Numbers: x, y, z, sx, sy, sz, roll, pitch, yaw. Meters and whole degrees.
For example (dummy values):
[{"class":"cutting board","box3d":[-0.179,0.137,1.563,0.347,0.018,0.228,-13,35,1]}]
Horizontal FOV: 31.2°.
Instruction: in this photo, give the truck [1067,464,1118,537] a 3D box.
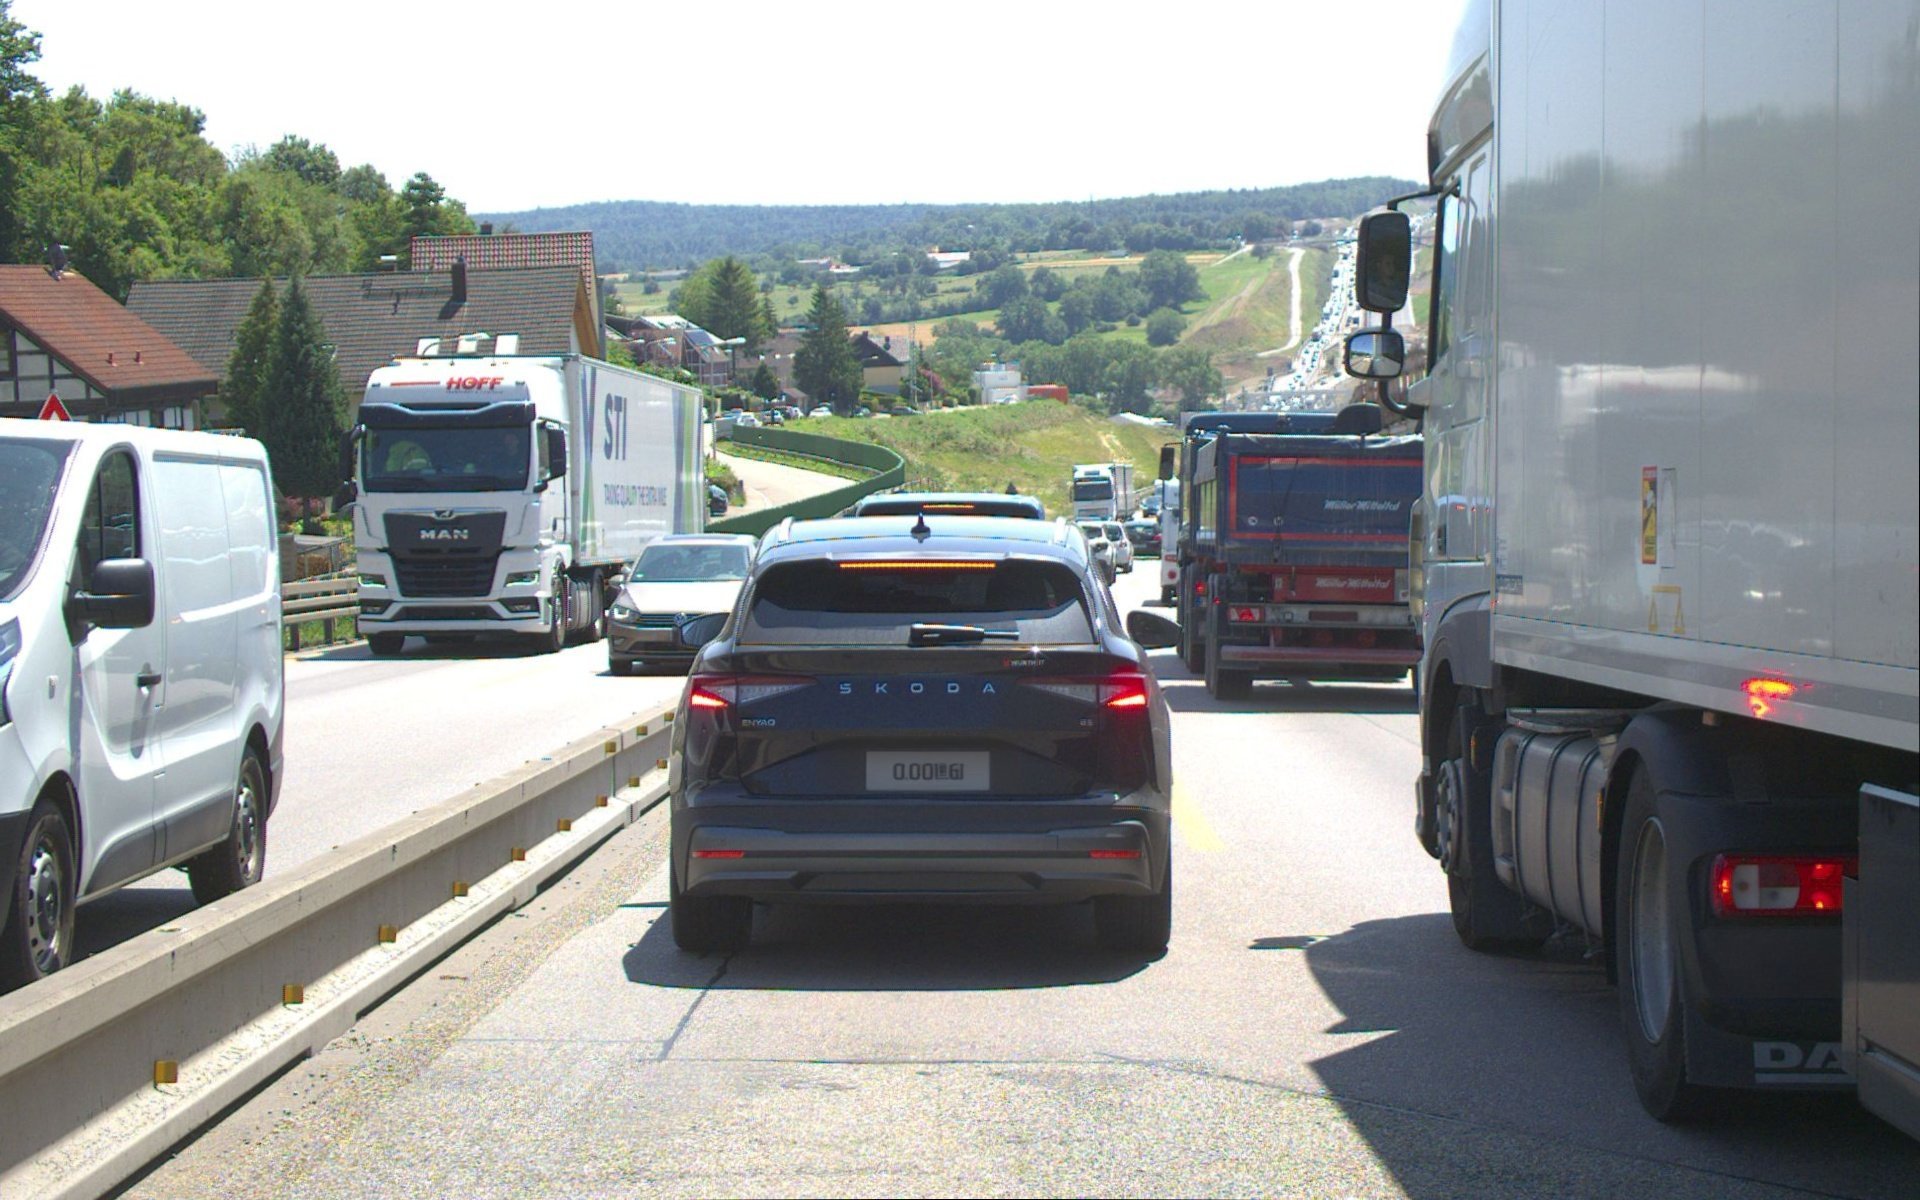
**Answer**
[{"class":"truck","box3d":[7.975,-5.995,207.070,2.752,4.268,4.956,1,2,5]}]

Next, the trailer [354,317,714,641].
[{"class":"trailer","box3d":[-6.305,-1.718,53.854,3.252,4.363,14.057,1,1,2]}]

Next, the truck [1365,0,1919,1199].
[{"class":"truck","box3d":[2.925,-0.704,9.931,2.513,4.011,8.238,1,1,0]}]

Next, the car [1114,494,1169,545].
[{"class":"car","box3d":[6.388,-2.812,120.853,1.701,1.722,3.835,1,1,6]}]

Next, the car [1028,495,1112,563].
[{"class":"car","box3d":[2.711,-1.726,84.194,1.994,1.579,3.836,1,1,2]}]

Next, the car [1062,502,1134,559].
[{"class":"car","box3d":[3.981,-1.986,98.874,1.994,1.579,3.836,1,1,2]}]

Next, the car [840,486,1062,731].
[{"class":"car","box3d":[-0.144,0.004,28.966,1.706,1.875,4.001,1,2,-2]}]

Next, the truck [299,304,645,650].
[{"class":"truck","box3d":[-6.585,-1.604,47.842,3.303,4.347,8.301,1,1,2]}]

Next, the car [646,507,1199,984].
[{"class":"car","box3d":[-0.195,0.473,13.563,1.842,1.581,3.908,1,1,-2]}]

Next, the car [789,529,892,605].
[{"class":"car","box3d":[-2.345,-0.656,68.282,1.790,1.448,4.635,-1,1,1]}]

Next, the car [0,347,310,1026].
[{"class":"car","box3d":[-3.818,0.243,12.561,1.993,2.004,4.858,-1,1,-1]}]

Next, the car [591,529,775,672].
[{"class":"car","box3d":[-3.150,-0.016,39.804,1.845,1.568,4.000,0,1,-1]}]

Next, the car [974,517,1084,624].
[{"class":"car","box3d":[1.147,-0.513,56.321,1.707,1.616,4.000,1,2,1]}]

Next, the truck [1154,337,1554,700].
[{"class":"truck","box3d":[3.842,-0.783,36.794,3.195,3.180,12.808,1,1,2]}]

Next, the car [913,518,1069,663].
[{"class":"car","box3d":[0.334,-0.159,42.278,1.706,1.616,4.001,1,2,-2]}]

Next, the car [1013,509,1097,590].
[{"class":"car","box3d":[2.015,-1.093,73.044,1.707,1.616,4.000,1,2,1]}]

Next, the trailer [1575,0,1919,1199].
[{"class":"trailer","box3d":[2.948,-0.821,3.202,2.532,4.113,11.548,1,1,0]}]
